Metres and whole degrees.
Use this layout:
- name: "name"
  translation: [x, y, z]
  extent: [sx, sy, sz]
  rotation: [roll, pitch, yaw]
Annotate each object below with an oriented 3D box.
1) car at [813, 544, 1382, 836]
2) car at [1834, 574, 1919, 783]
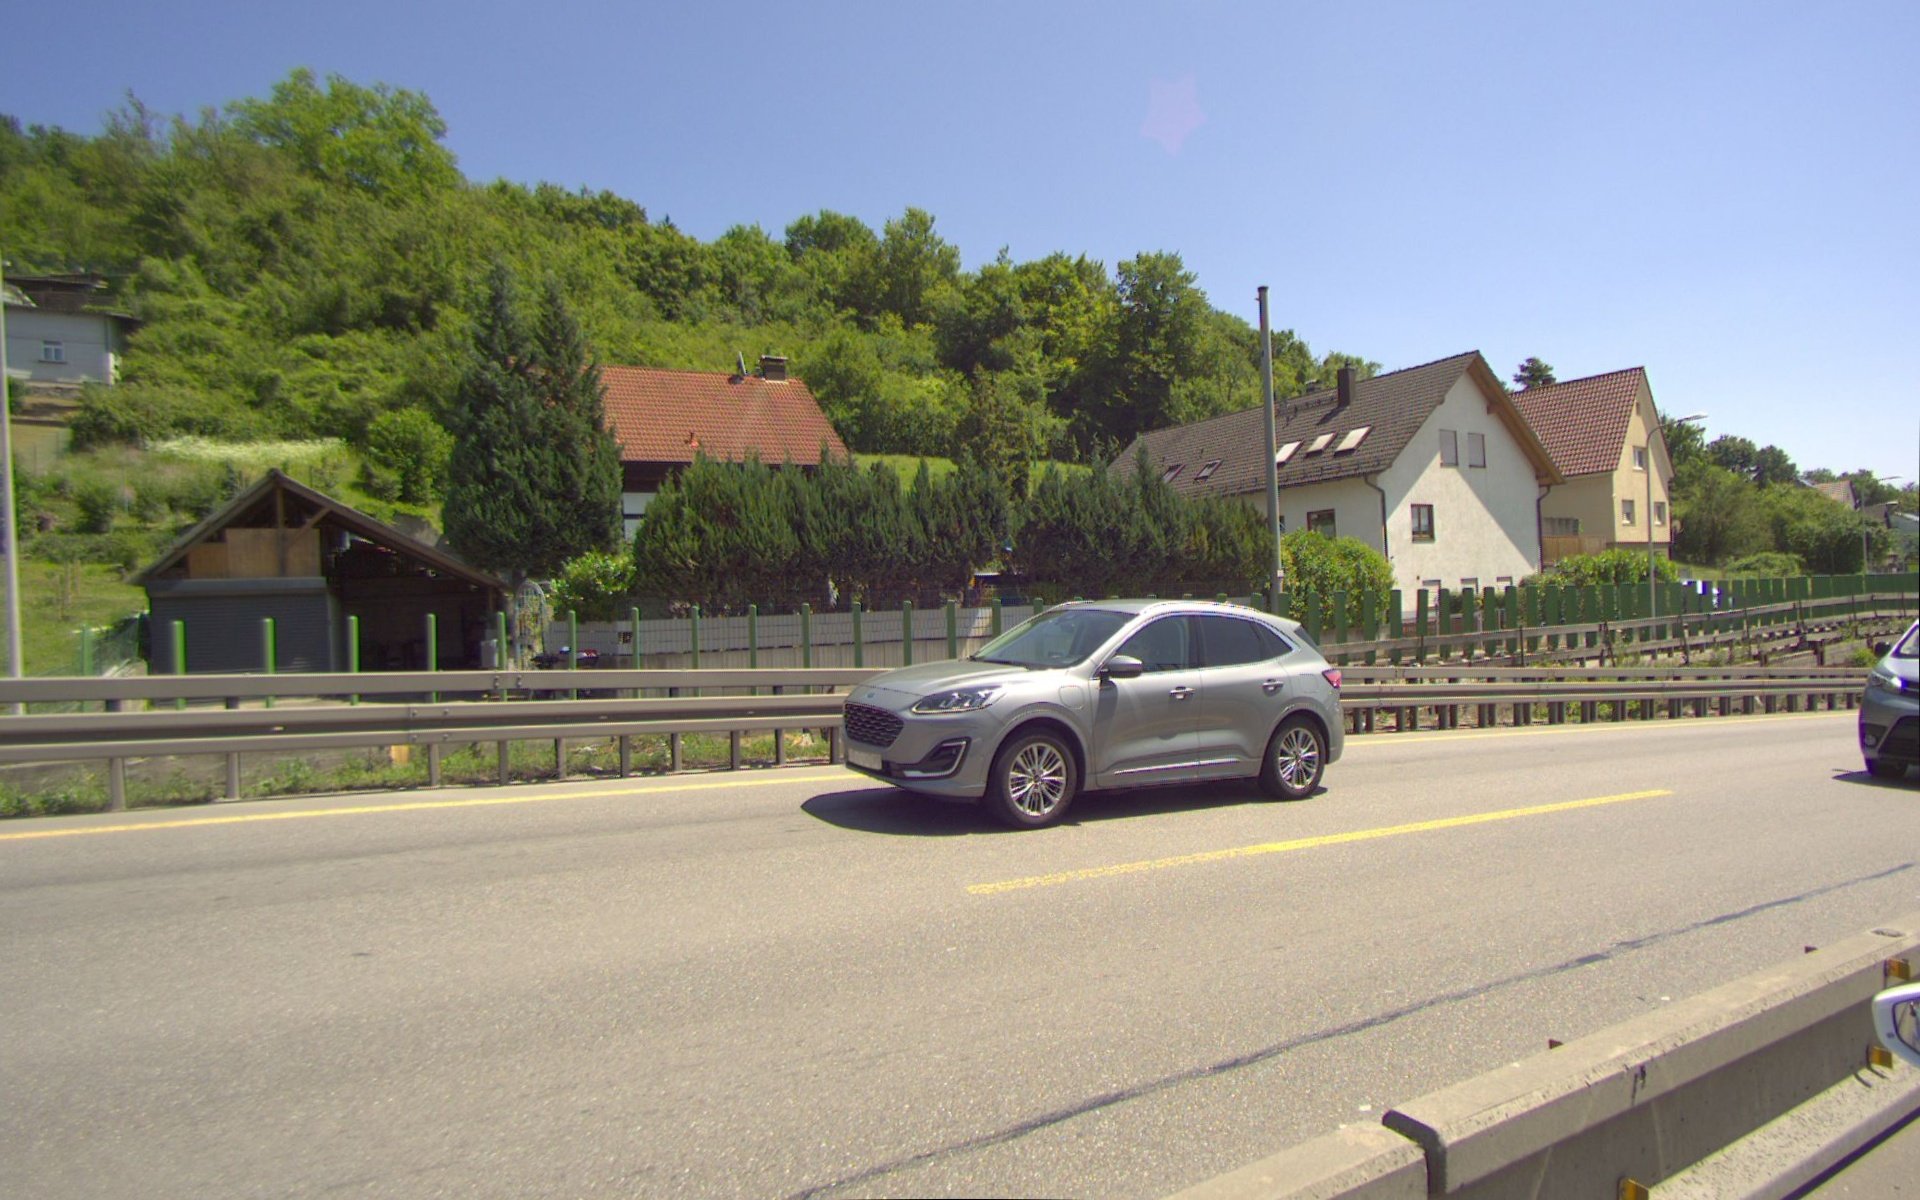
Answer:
- name: "car"
  translation: [1.239, 0.645, 8.387]
  extent: [4.457, 1.851, 1.983]
  rotation: [2, -1, -31]
- name: "car"
  translation: [11.655, 0.835, 10.785]
  extent: [4.911, 2.040, 1.984]
  rotation: [2, -2, -30]
